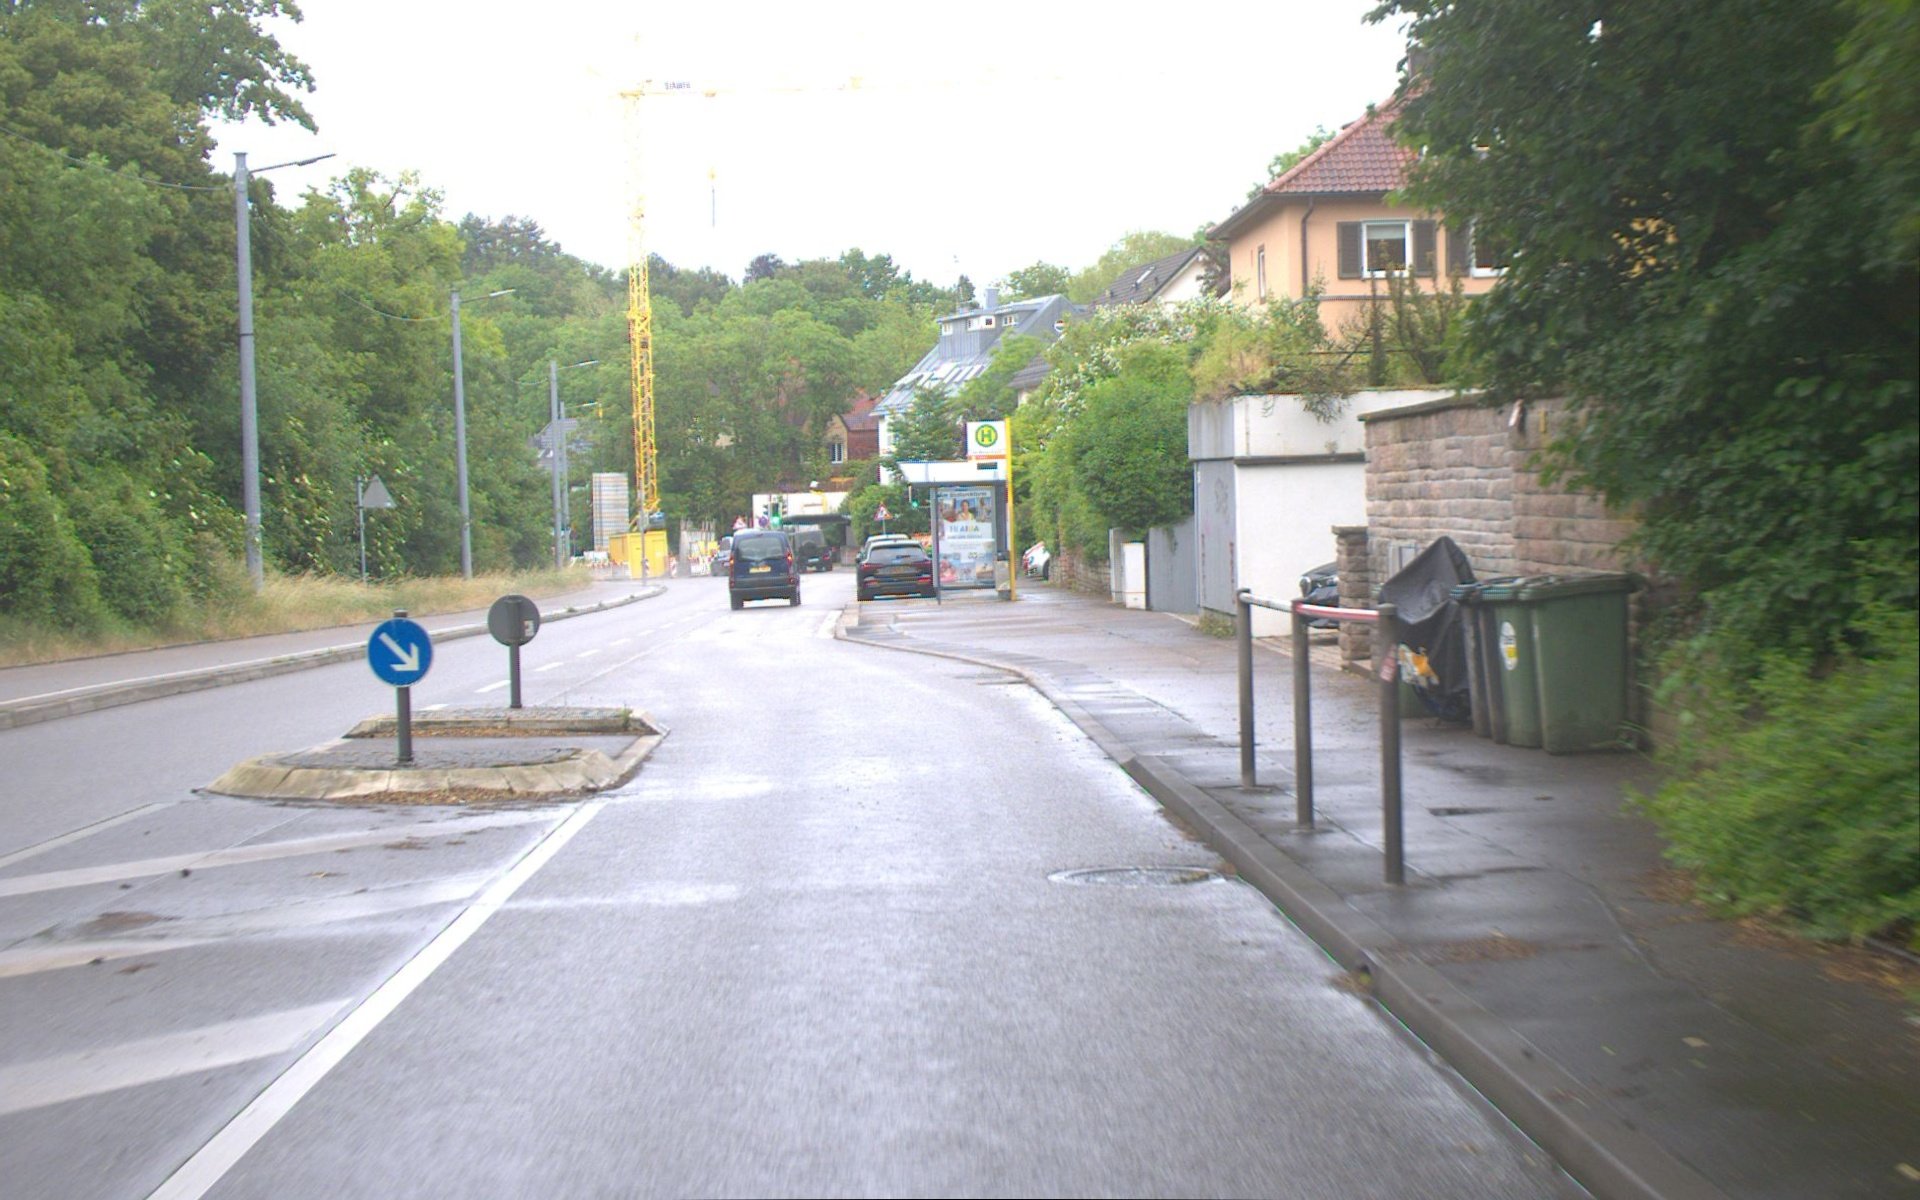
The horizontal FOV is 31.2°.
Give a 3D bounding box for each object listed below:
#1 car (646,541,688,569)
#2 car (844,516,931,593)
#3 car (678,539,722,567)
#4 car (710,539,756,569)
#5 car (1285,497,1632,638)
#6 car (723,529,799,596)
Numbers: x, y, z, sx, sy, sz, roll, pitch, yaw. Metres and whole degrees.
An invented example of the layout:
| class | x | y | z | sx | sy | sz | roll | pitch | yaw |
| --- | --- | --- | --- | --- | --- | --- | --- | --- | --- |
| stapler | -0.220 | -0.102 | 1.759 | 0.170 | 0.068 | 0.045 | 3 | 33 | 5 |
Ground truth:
| class | x | y | z | sx | sy | sz | roll | pitch | yaw |
| --- | --- | --- | --- | --- | --- | --- | --- | --- | --- |
| car | -16.891 | -2.607 | 198.135 | 1.739 | 1.546 | 3.857 | -1 | 1 | -15 |
| car | -1.711 | -1.088 | 81.569 | 1.993 | 1.766 | 4.115 | 0 | 1 | -1 |
| car | -14.569 | -2.632 | 192.325 | 1.739 | 1.547 | 3.857 | 0 | 1 | -15 |
| car | -12.322 | -2.495 | 186.630 | 1.739 | 1.546 | 3.857 | -1 | 1 | -15 |
| car | 5.797 | -0.387 | 40.255 | 3.769 | 1.547 | 1.609 | -1 | 1 | -2 |
| car | -4.819 | -0.923 | 83.514 | 1.667 | 1.588 | 3.683 | -1 | 1 | -1 |
